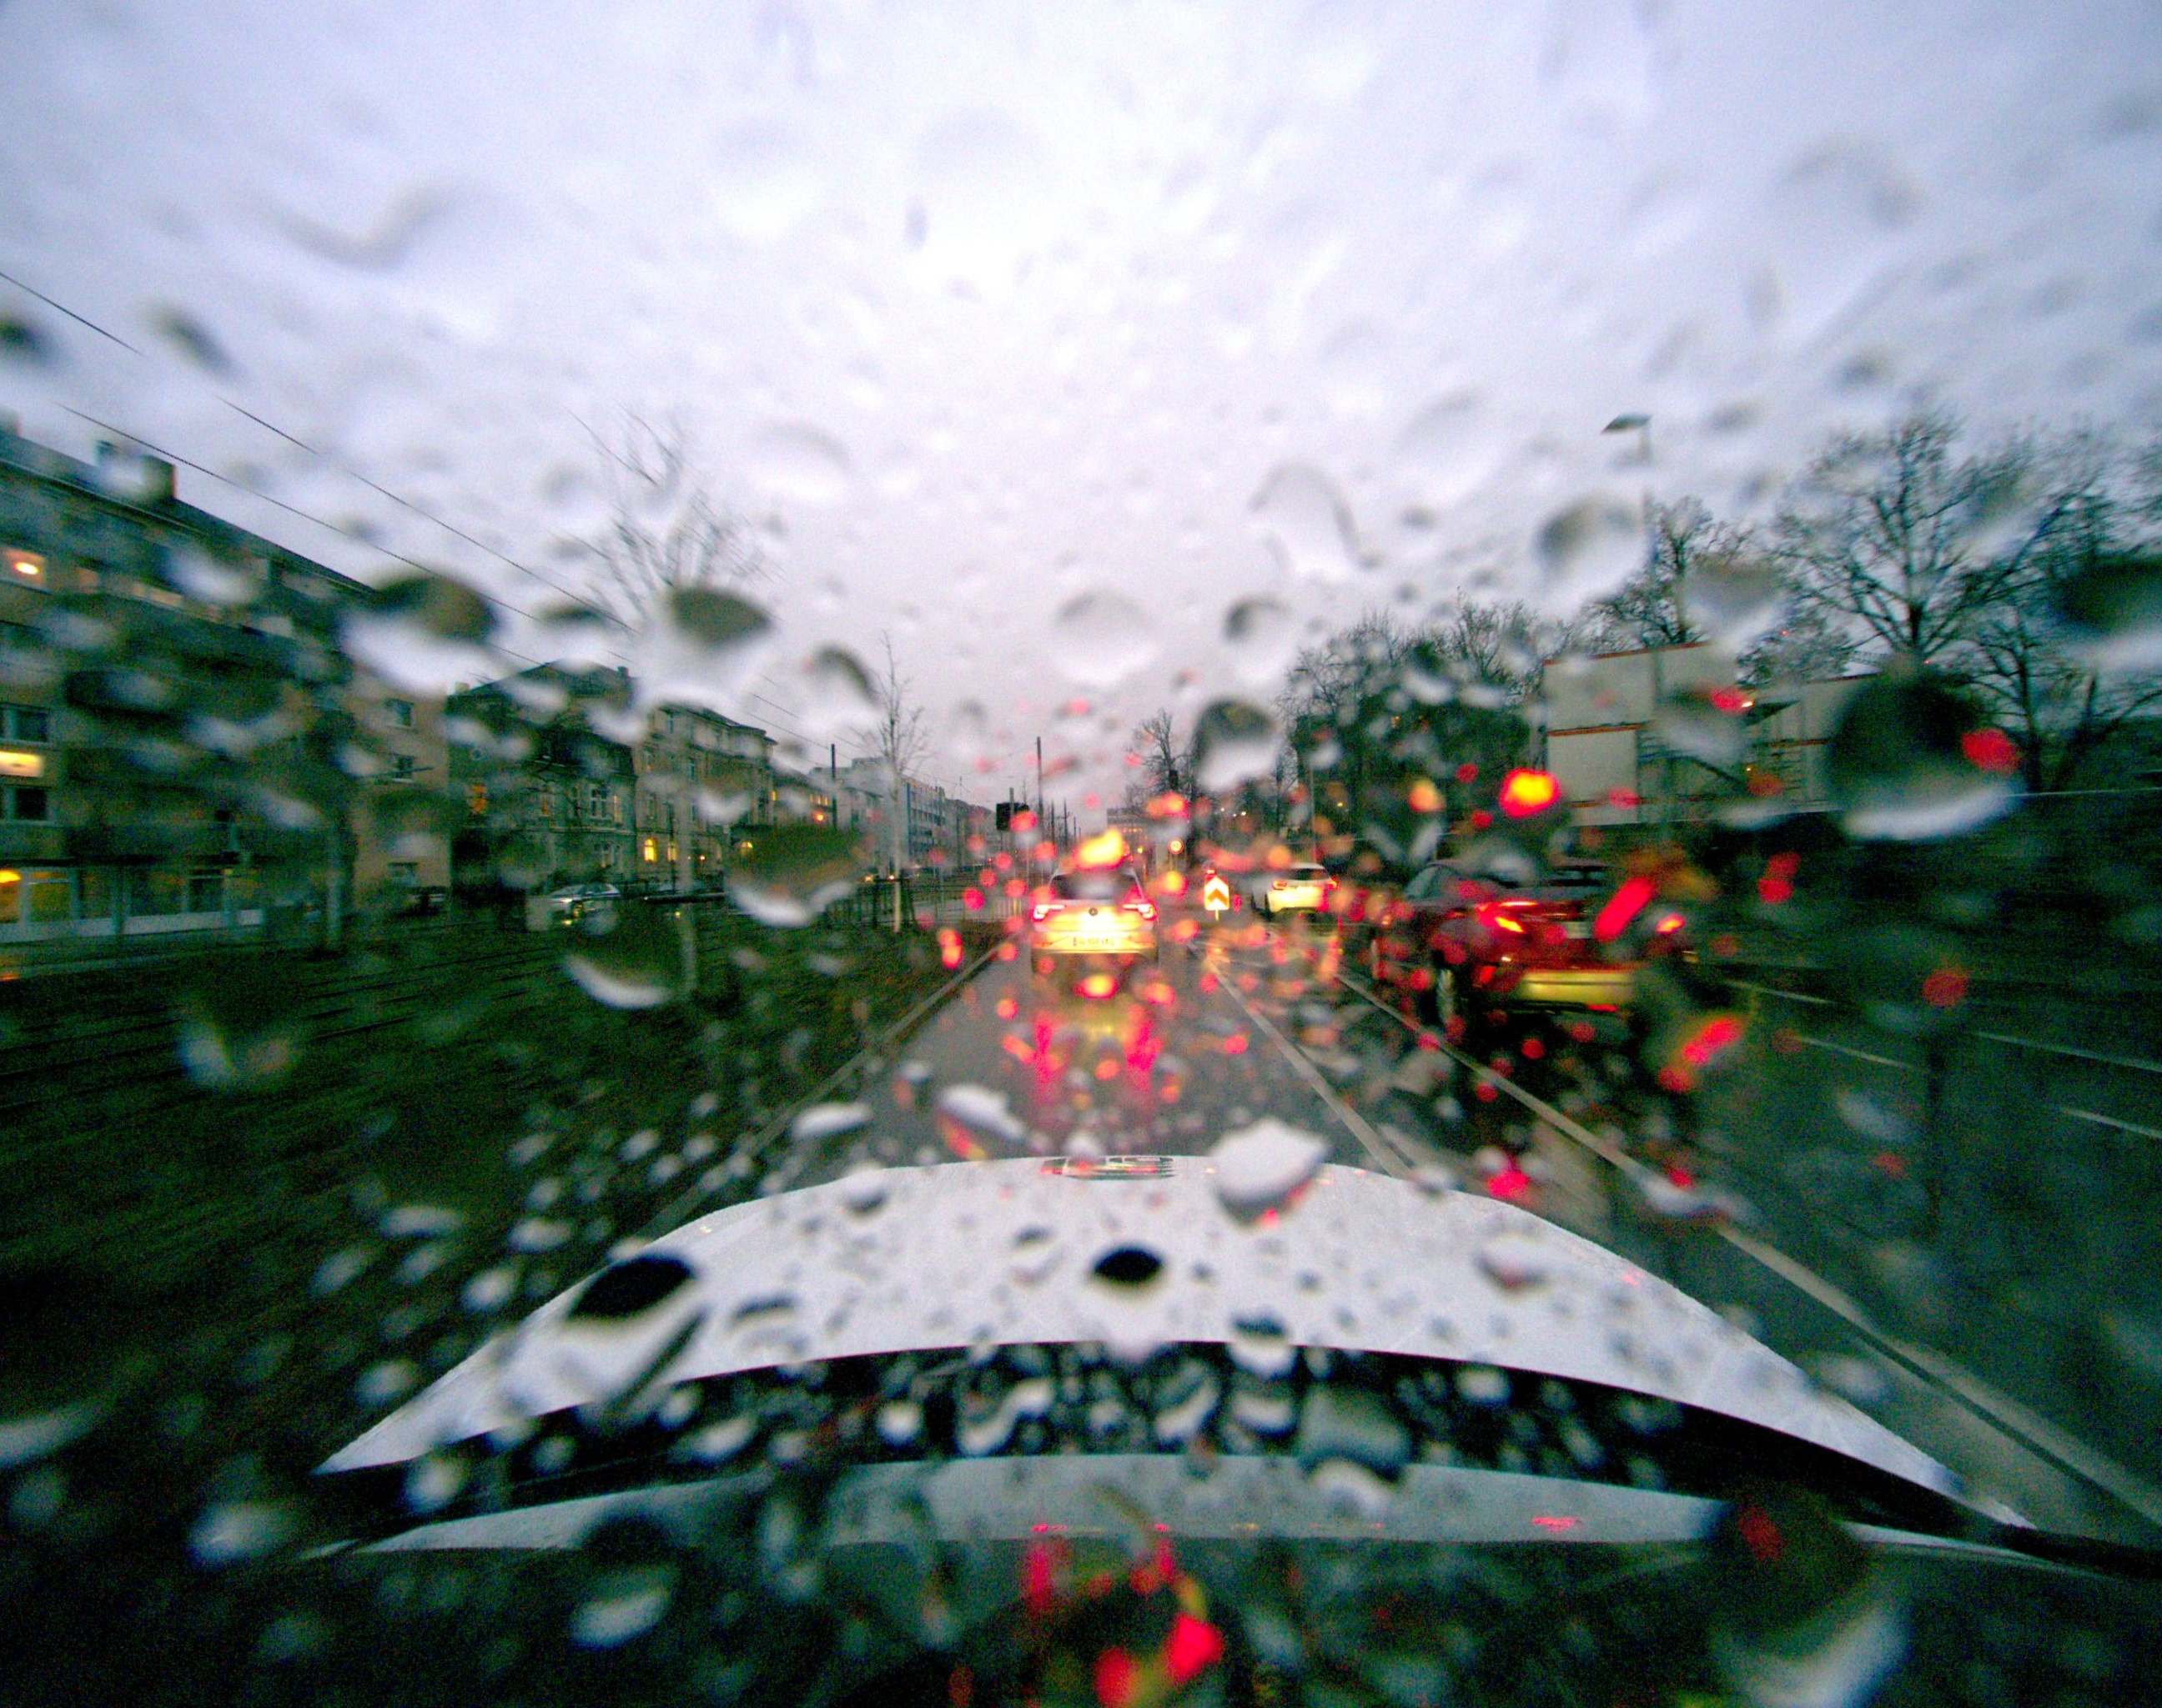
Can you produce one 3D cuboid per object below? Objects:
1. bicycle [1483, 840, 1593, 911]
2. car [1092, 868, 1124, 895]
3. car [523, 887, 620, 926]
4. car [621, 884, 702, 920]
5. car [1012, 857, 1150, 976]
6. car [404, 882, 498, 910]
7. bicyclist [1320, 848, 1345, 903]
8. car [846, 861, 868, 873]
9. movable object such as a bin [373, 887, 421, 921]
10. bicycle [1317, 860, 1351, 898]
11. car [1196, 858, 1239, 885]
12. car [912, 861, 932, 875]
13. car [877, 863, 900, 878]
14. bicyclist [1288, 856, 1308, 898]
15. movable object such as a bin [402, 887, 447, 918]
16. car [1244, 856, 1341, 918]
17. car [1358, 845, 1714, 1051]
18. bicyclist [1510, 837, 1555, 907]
[{"bbox_3d":[11.145,0.522,19.924,2.219,1.657,0.694,-1,-2,42],"label":"bicycle"},{"bbox_3d":[1.570,1.539,46.196,1.715,1.479,4.002,0,-1,2],"label":"car"},{"bbox_3d":[-23.009,2.349,36.953,1.795,1.585,4.000,0,-1,1],"label":"car"},{"bbox_3d":[-20.441,2.289,39.871,1.795,1.585,4.000,0,-1,1],"label":"car"},{"bbox_3d":[0.095,0.795,12.146,1.715,1.479,4.002,0,-1,2],"label":"car"},{"bbox_3d":[-36.845,2.445,47.704,3.974,1.406,1.833,-2,0,-1],"label":"car"},{"bbox_3d":[8.267,0.704,26.755,0.498,1.767,0.837,-2,0,-1],"label":"bicyclist"},{"bbox_3d":[-29.173,1.654,106.250,1.801,1.436,3.925,-3,0,-1],"label":"car"},{"bbox_3d":[-33.684,2.448,40.140,1.104,1.561,1.424,-3,0,-1],"label":"movable object such as a bin"},{"bbox_3d":[8.254,0.784,26.621,0.410,1.185,2.028,-2,0,-1],"label":"bicycle"},{"bbox_3d":[6.799,0.883,40.860,1.617,1.299,4.002,0,-1,2],"label":"car"},{"bbox_3d":[-23.938,2.124,122.616,1.988,1.933,4.909,-3,0,-1],"label":"car"},{"bbox_3d":[-25.092,2.133,106.042,1.988,1.692,4.109,-3,0,-1],"label":"car"},{"bbox_3d":[8.239,0.863,30.944,0.498,1.591,0.837,-2,0,-1],"label":"bicyclist"},{"bbox_3d":[-33.643,2.479,41.750,1.104,1.480,1.424,-3,0,-1],"label":"movable object such as a bin"},{"bbox_3d":[5.482,0.832,21.592,1.715,1.479,4.002,0,-1,2],"label":"car"},{"bbox_3d":[3.993,0.714,7.970,1.712,1.479,4.009,0,-1,8],"label":"car"},{"bbox_3d":[11.052,0.440,19.937,0.807,1.679,0.702,-2,-1,40],"label":"bicyclist"}]
